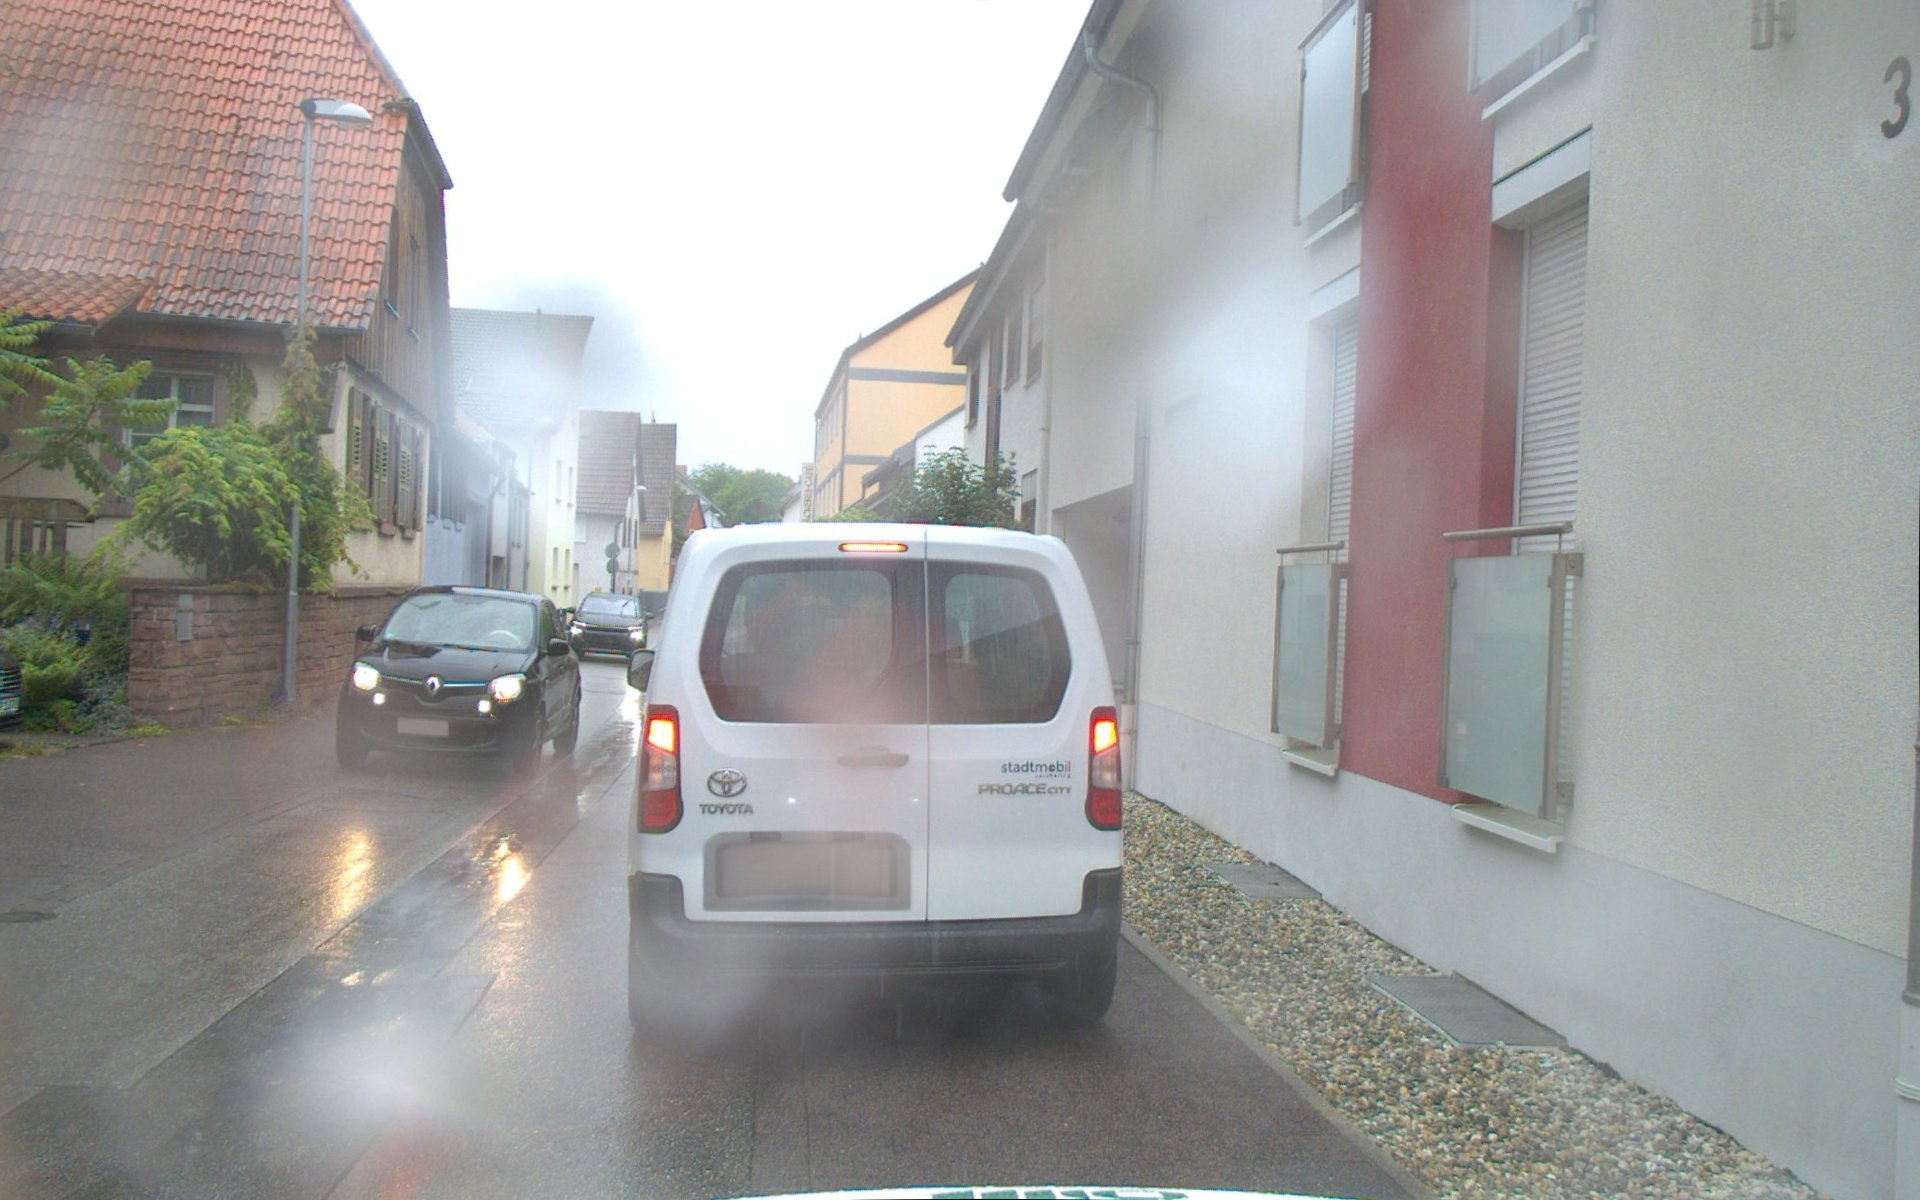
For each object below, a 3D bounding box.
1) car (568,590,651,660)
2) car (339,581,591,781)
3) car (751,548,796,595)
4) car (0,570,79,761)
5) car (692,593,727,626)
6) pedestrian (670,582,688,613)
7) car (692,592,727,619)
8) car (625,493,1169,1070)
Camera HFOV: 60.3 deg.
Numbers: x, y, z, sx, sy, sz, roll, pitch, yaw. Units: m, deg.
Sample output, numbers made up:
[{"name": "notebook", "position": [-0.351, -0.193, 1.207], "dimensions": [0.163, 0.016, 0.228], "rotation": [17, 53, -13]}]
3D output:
[{"name": "car", "position": [-8.577, 0.583, 40.755], "dimensions": [1.799, 1.583, 4.229], "rotation": [2, 0, -10]}, {"name": "car", "position": [-4.338, 0.650, 14.994], "dimensions": [1.574, 1.539, 3.681], "rotation": [2, 0, -8]}, {"name": "car", "position": [-8.564, -1.263, 76.186], "dimensions": [1.955, 2.049, 3.995], "rotation": [1, 0, -6]}, {"name": "car", "position": [-9.394, 0.304, 12.945], "dimensions": [3.908, 1.450, 1.735], "rotation": [7, -1, -1]}, {"name": "car", "position": [-11.774, 0.441, 77.519], "dimensions": [1.532, 1.503, 3.990], "rotation": [1, 0, -10]}, {"name": "pedestrian", "position": [-17.874, -0.158, 105.246], "dimensions": [1.031, 1.926, 0.875], "rotation": [1, -1, -9]}, {"name": "car", "position": [-13.417, 0.286, 88.310], "dimensions": [1.747, 1.419, 3.990], "rotation": [1, 0, -10]}, {"name": "car", "position": [-0.488, 0.588, 7.315], "dimensions": [1.742, 1.811, 3.991], "rotation": [1, 0, -9]}]
